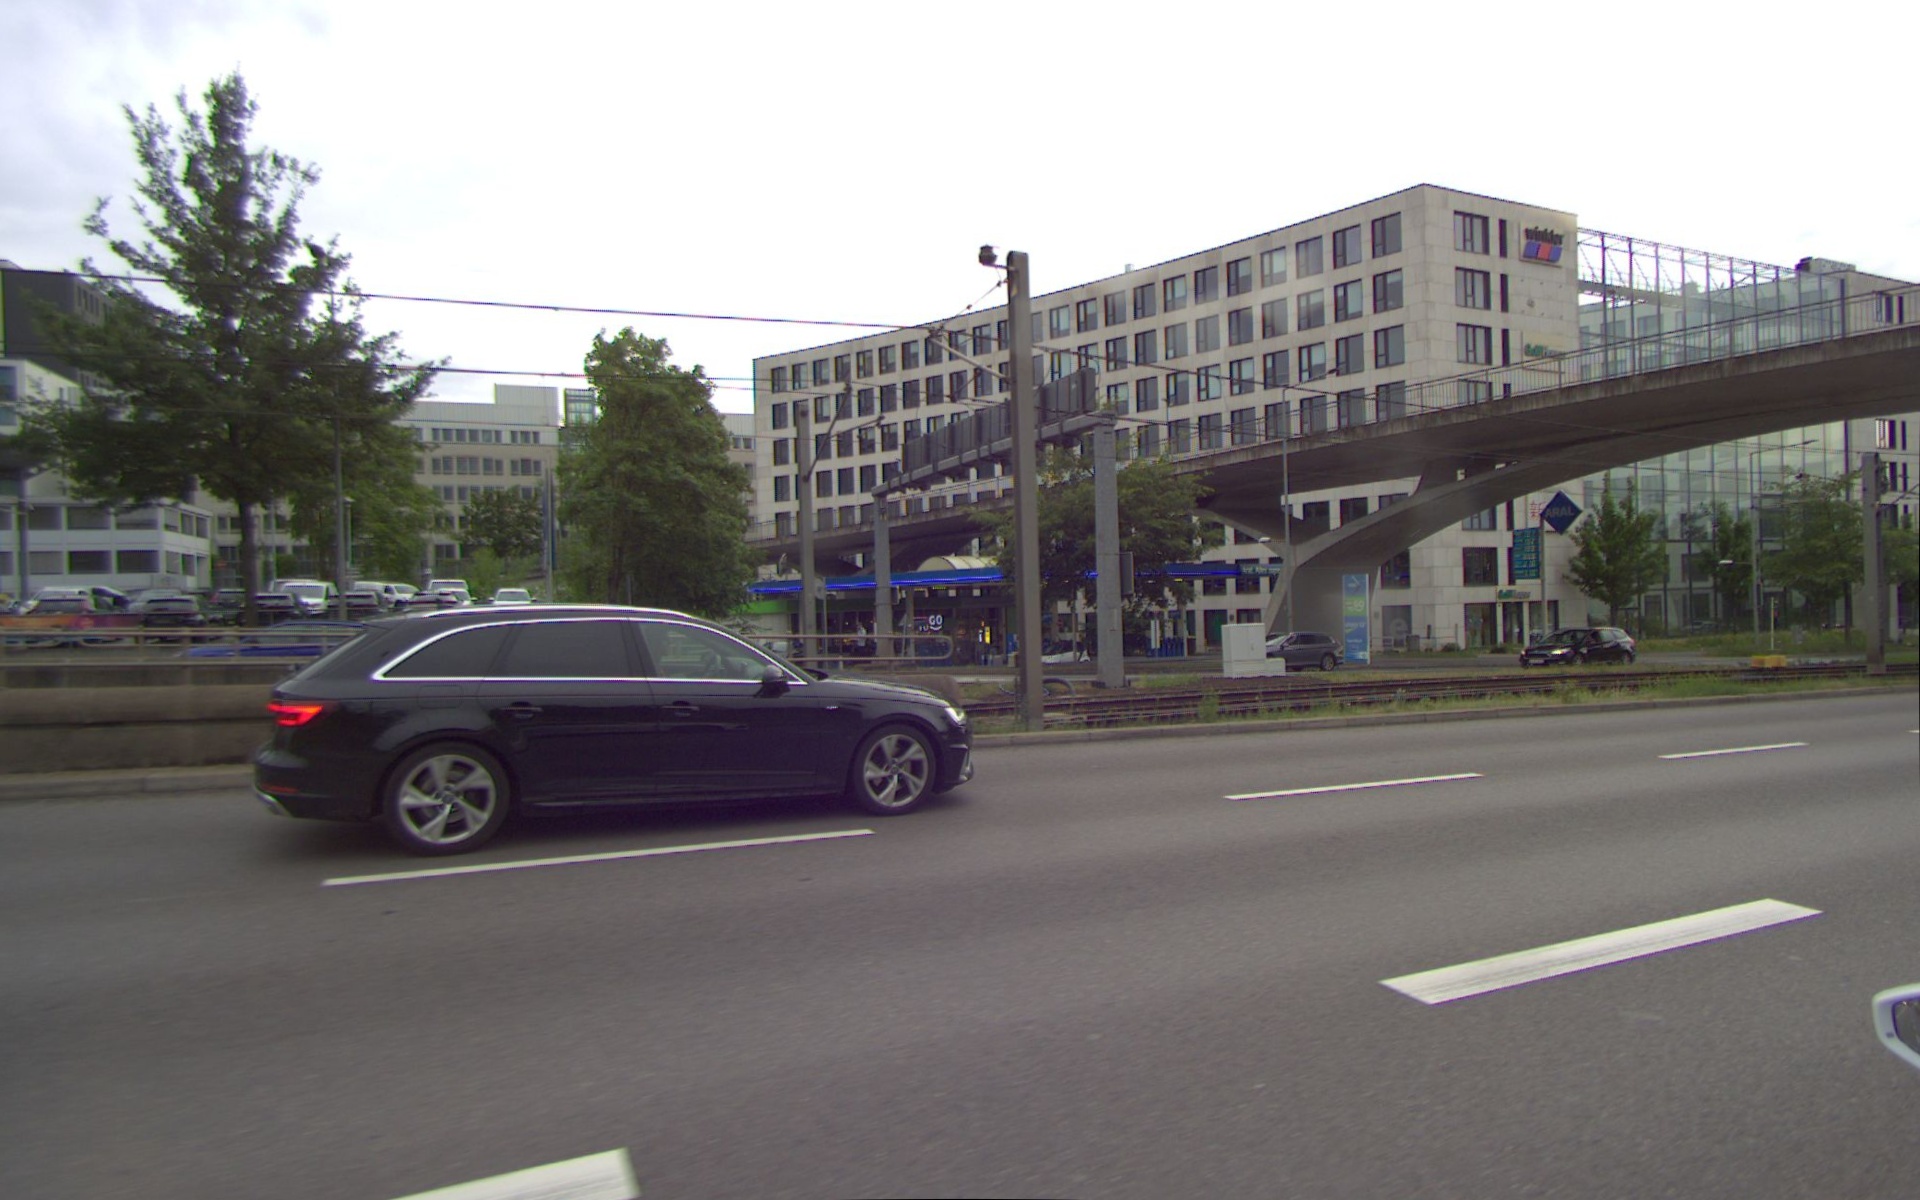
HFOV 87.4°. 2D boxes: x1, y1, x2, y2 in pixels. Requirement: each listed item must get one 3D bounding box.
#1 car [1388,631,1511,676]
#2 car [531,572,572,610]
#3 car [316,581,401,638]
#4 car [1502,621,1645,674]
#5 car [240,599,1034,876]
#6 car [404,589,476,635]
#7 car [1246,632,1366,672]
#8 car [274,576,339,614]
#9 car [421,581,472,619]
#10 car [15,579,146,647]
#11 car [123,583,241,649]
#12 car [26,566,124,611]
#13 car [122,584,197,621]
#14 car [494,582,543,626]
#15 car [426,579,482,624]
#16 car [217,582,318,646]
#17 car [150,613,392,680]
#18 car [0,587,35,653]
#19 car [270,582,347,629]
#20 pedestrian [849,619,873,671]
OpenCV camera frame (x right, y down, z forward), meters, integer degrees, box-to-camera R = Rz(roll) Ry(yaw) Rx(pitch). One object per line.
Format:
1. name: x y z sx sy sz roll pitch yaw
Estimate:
1. car: 19.422 2.067 39.815 4.700 1.559 2.039 0 1 -28
2. car: -20.839 -0.441 51.257 1.817 1.794 4.343 2 0 -22
3. car: -20.648 0.307 34.652 1.858 1.795 4.177 2 0 -22
4. car: 20.631 1.540 33.760 4.700 1.559 2.039 0 1 -28
5. car: -1.981 0.765 7.079 4.742 1.432 1.780 1 0 -26
6. car: -18.559 0.403 36.014 1.858 1.523 4.343 2 0 -22
7. car: 12.839 1.928 37.299 3.916 1.305 1.788 2 0 -19
8. car: -30.230 -0.234 46.545 1.776 1.614 3.899 2 0 -22
9. car: -25.558 -0.018 50.113 1.858 1.794 4.343 2 0 -22
10. car: -27.659 0.373 31.769 1.859 1.973 4.341 2 0 -24
11. car: -25.055 0.479 32.529 1.858 1.973 4.343 2 0 -22
12. car: -38.526 -0.490 43.861 1.858 1.838 4.343 2 0 -22
13. car: -41.785 0.117 52.536 1.858 1.838 4.343 2 0 -22
14. car: -20.000 0.161 45.635 1.858 1.838 4.343 2 0 -22
15. car: -22.374 0.054 44.561 1.858 1.838 4.343 2 0 -22
16. car: -23.032 0.444 33.589 1.858 1.973 4.343 2 0 -22
17. car: -14.794 1.006 21.869 4.056 1.327 1.761 2 0 -25
18. car: -30.062 0.582 30.322 1.839 1.973 4.203 2 0 -24
19. car: -27.049 0.206 41.824 1.858 1.838 4.343 2 0 -22
20. pedestrian: -3.602 1.635 36.552 0.628 1.820 0.684 2 0 -25
